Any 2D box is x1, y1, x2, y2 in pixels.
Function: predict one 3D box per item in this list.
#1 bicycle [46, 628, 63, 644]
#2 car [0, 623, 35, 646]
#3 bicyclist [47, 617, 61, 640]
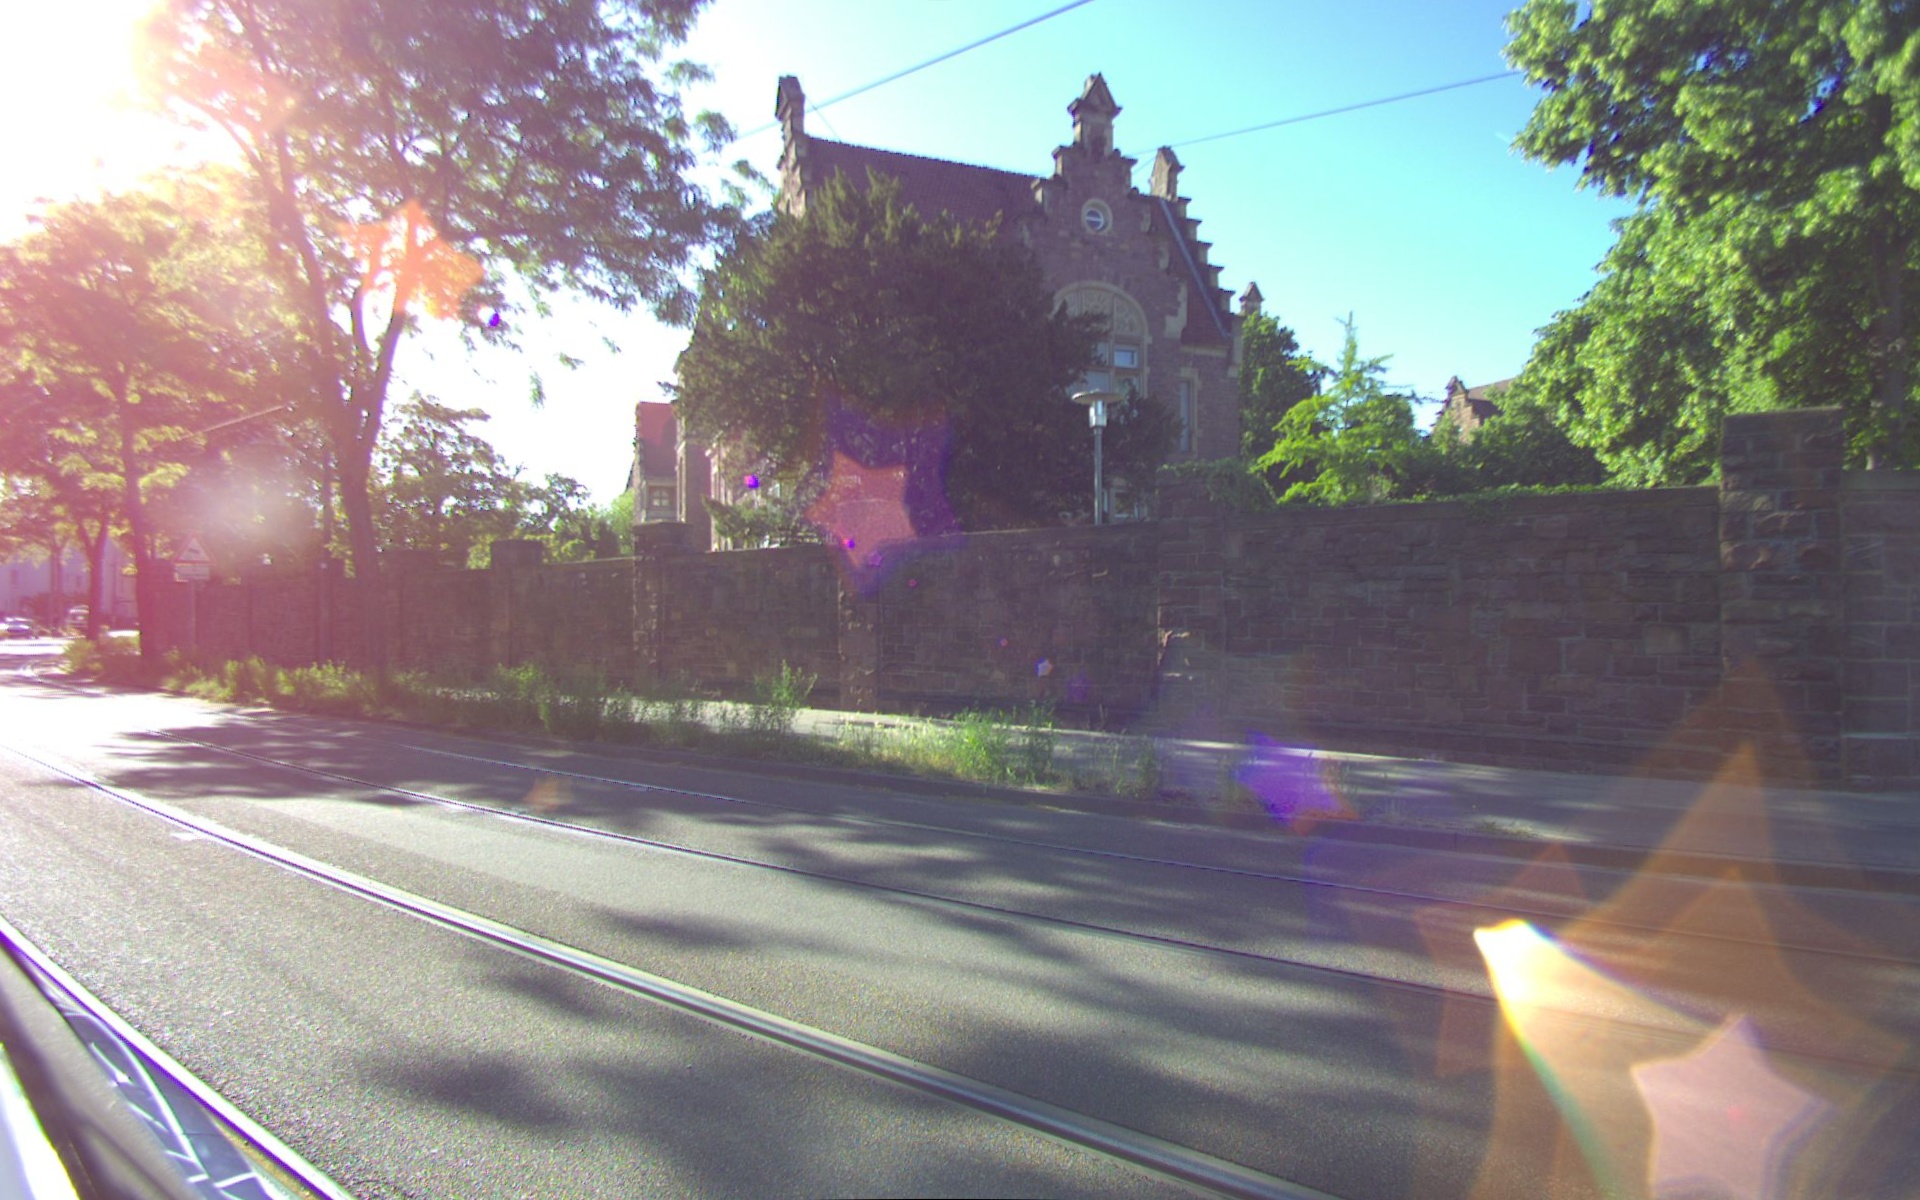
[{"bbox_3d":[-65.878,2.581,73.638,0.579,1.120,1.861,0,-1,-30],"label":"bicycle"},{"bbox_3d":[-68.899,2.509,73.835,1.969,1.560,4.005,0,-1,-41],"label":"car"},{"bbox_3d":[-65.865,2.069,73.594,0.633,1.653,0.667,-1,0,-31],"label":"bicyclist"}]
